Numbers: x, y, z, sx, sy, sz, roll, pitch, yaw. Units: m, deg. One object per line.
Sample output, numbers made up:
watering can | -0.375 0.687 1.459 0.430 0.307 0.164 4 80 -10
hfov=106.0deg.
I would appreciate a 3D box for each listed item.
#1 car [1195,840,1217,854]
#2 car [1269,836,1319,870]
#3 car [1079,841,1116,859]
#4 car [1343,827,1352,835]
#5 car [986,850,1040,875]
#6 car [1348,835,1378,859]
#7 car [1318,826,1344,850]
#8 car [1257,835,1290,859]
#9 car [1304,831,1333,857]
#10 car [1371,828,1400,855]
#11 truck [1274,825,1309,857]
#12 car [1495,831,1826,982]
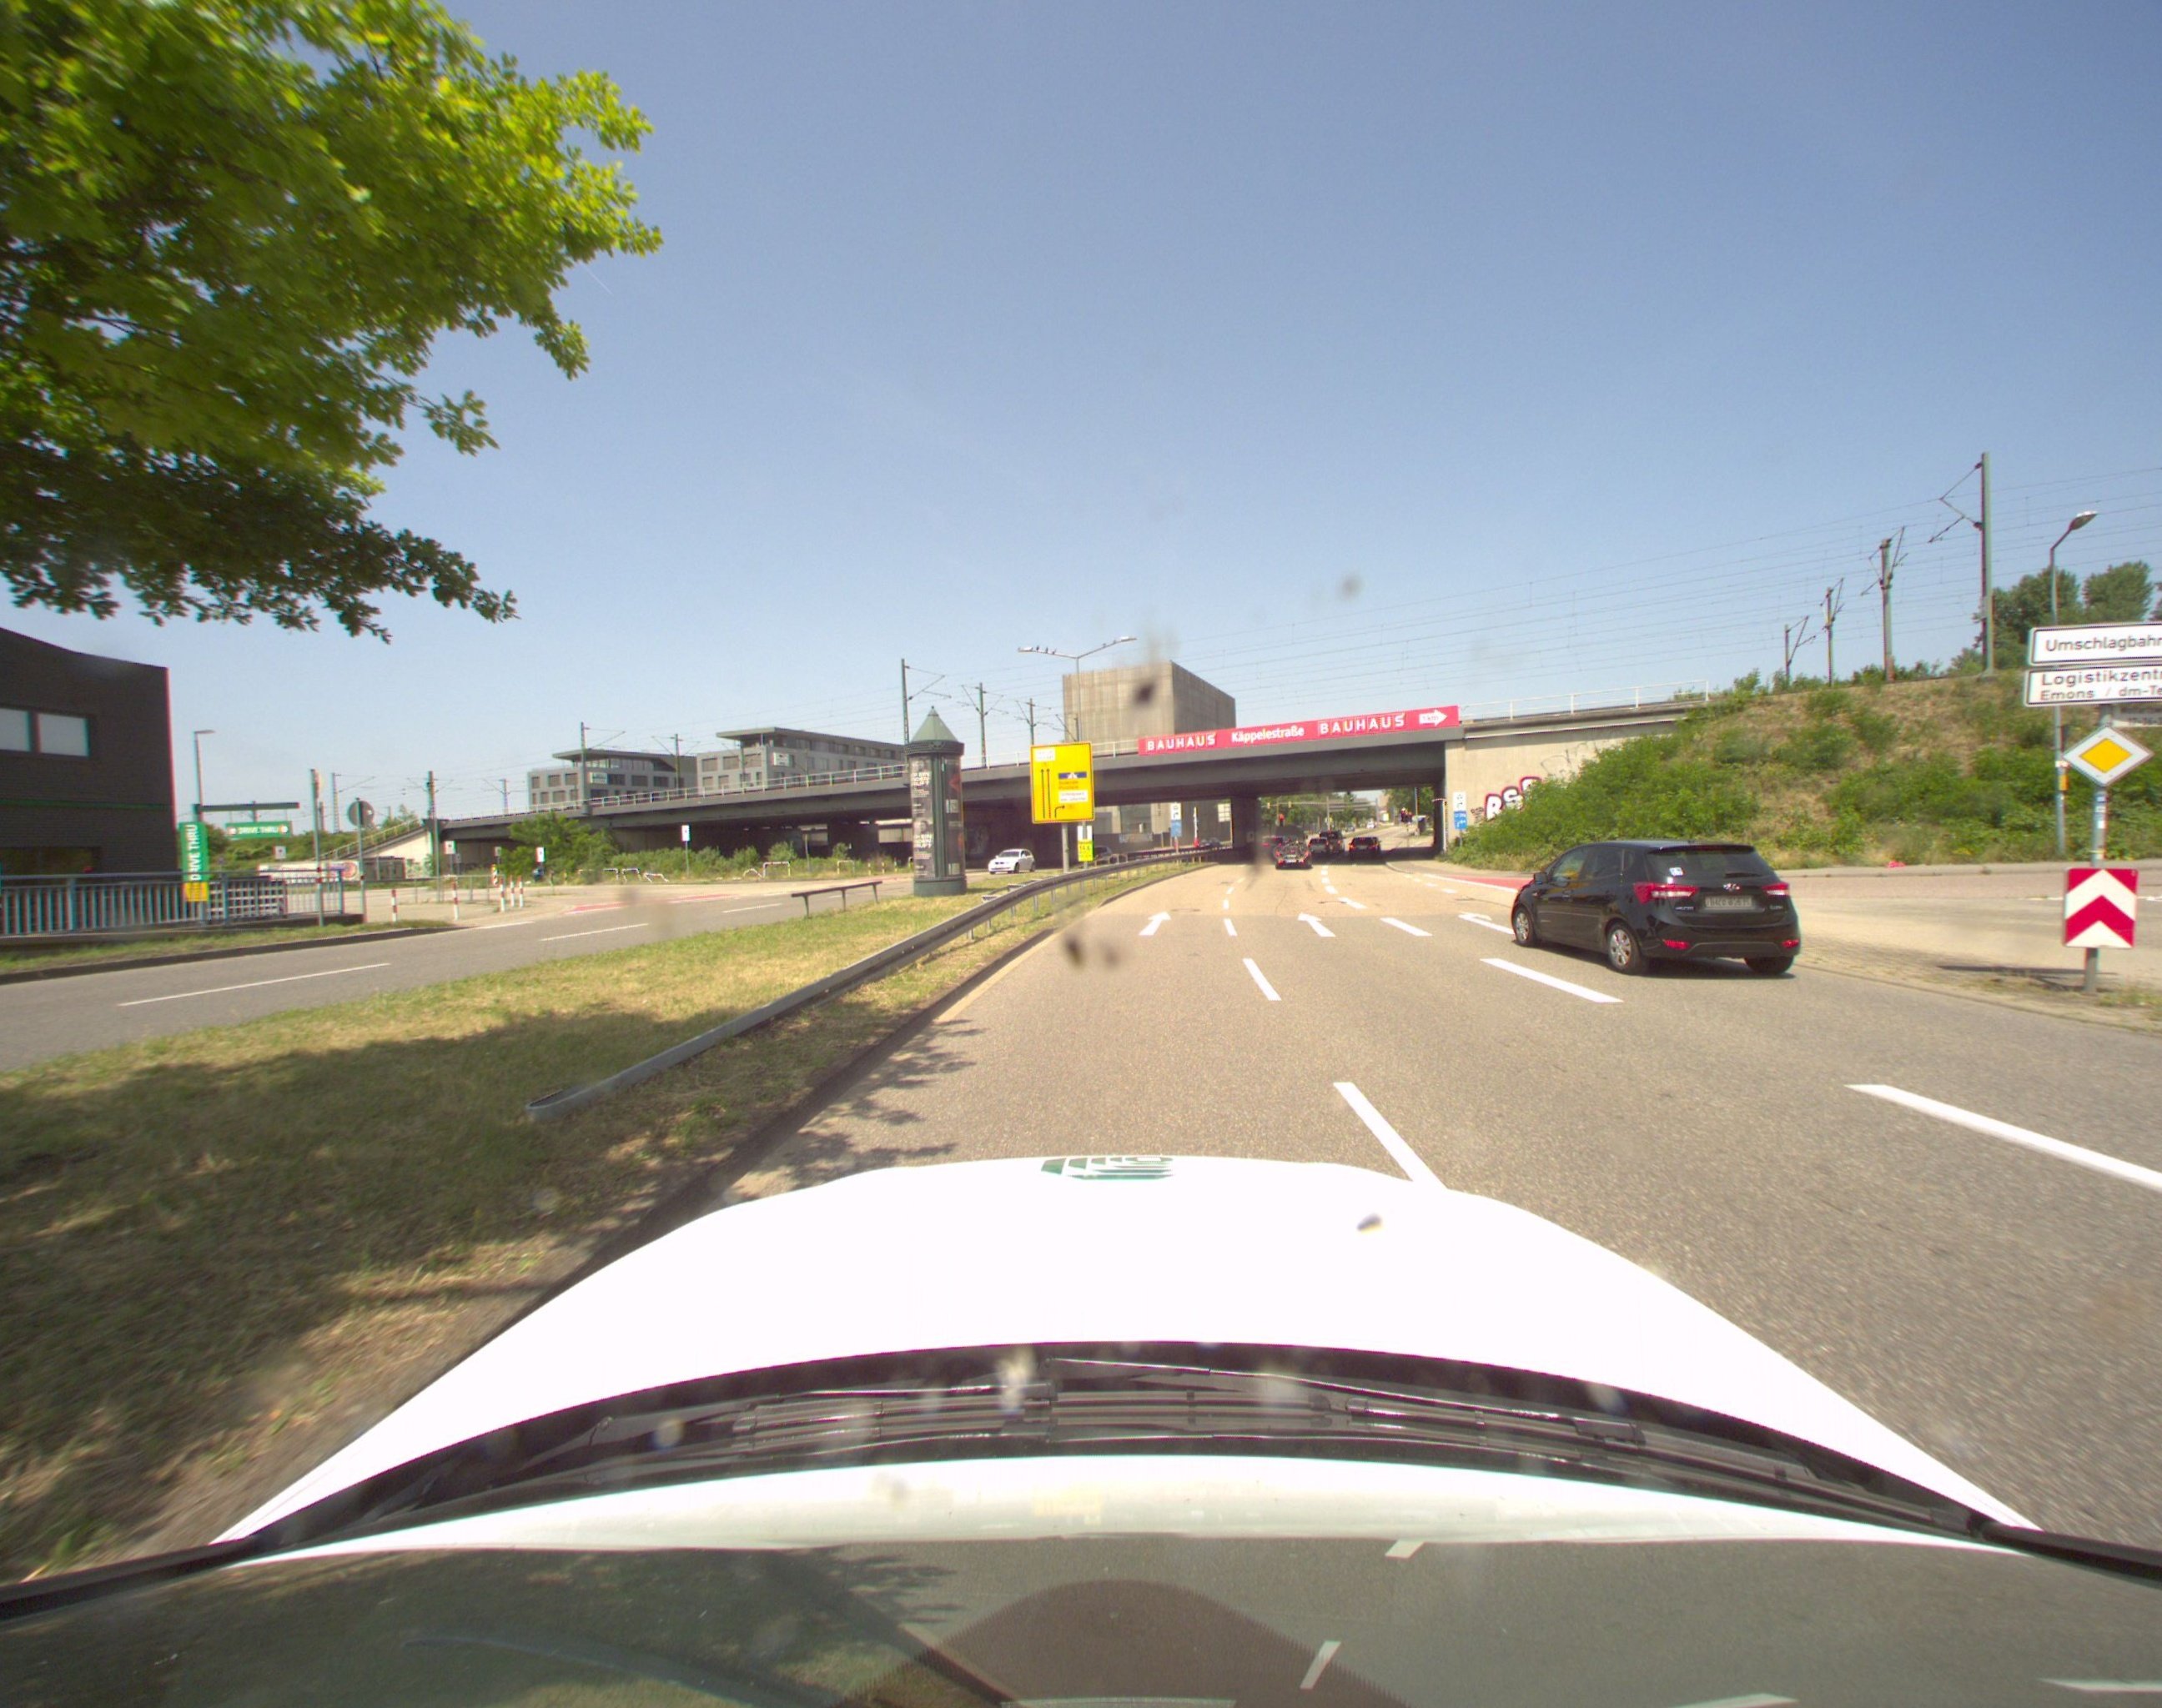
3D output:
car | 15.871 -0.908 103.029 1.838 1.622 4.021 -2 0 21
car | 11.160 -0.100 42.475 1.940 1.633 4.303 -1 1 22
car | 1.549 -0.378 74.018 1.976 1.441 4.021 -4 -1 21
car | 63.302 -5.479 193.297 1.839 1.622 4.020 -2 0 19
car | -4.033 0.491 48.979 1.641 1.379 4.237 -2 0 18
car | 19.297 -0.493 55.654 1.825 1.568 4.021 -2 0 20
car | 21.642 -1.365 70.395 1.825 1.890 4.021 -2 0 20
car | 14.911 -0.569 62.809 1.924 1.721 4.021 -2 0 21
car | 18.535 -0.758 63.493 1.825 1.890 4.021 -2 0 20
car | 24.597 -0.992 65.934 1.977 2.013 4.020 -4 -1 20
truck | 18.018 -1.087 69.626 2.049 2.538 4.023 -3 0 24
car | 7.276 0.542 10.826 1.759 1.599 4.083 -1 1 5
